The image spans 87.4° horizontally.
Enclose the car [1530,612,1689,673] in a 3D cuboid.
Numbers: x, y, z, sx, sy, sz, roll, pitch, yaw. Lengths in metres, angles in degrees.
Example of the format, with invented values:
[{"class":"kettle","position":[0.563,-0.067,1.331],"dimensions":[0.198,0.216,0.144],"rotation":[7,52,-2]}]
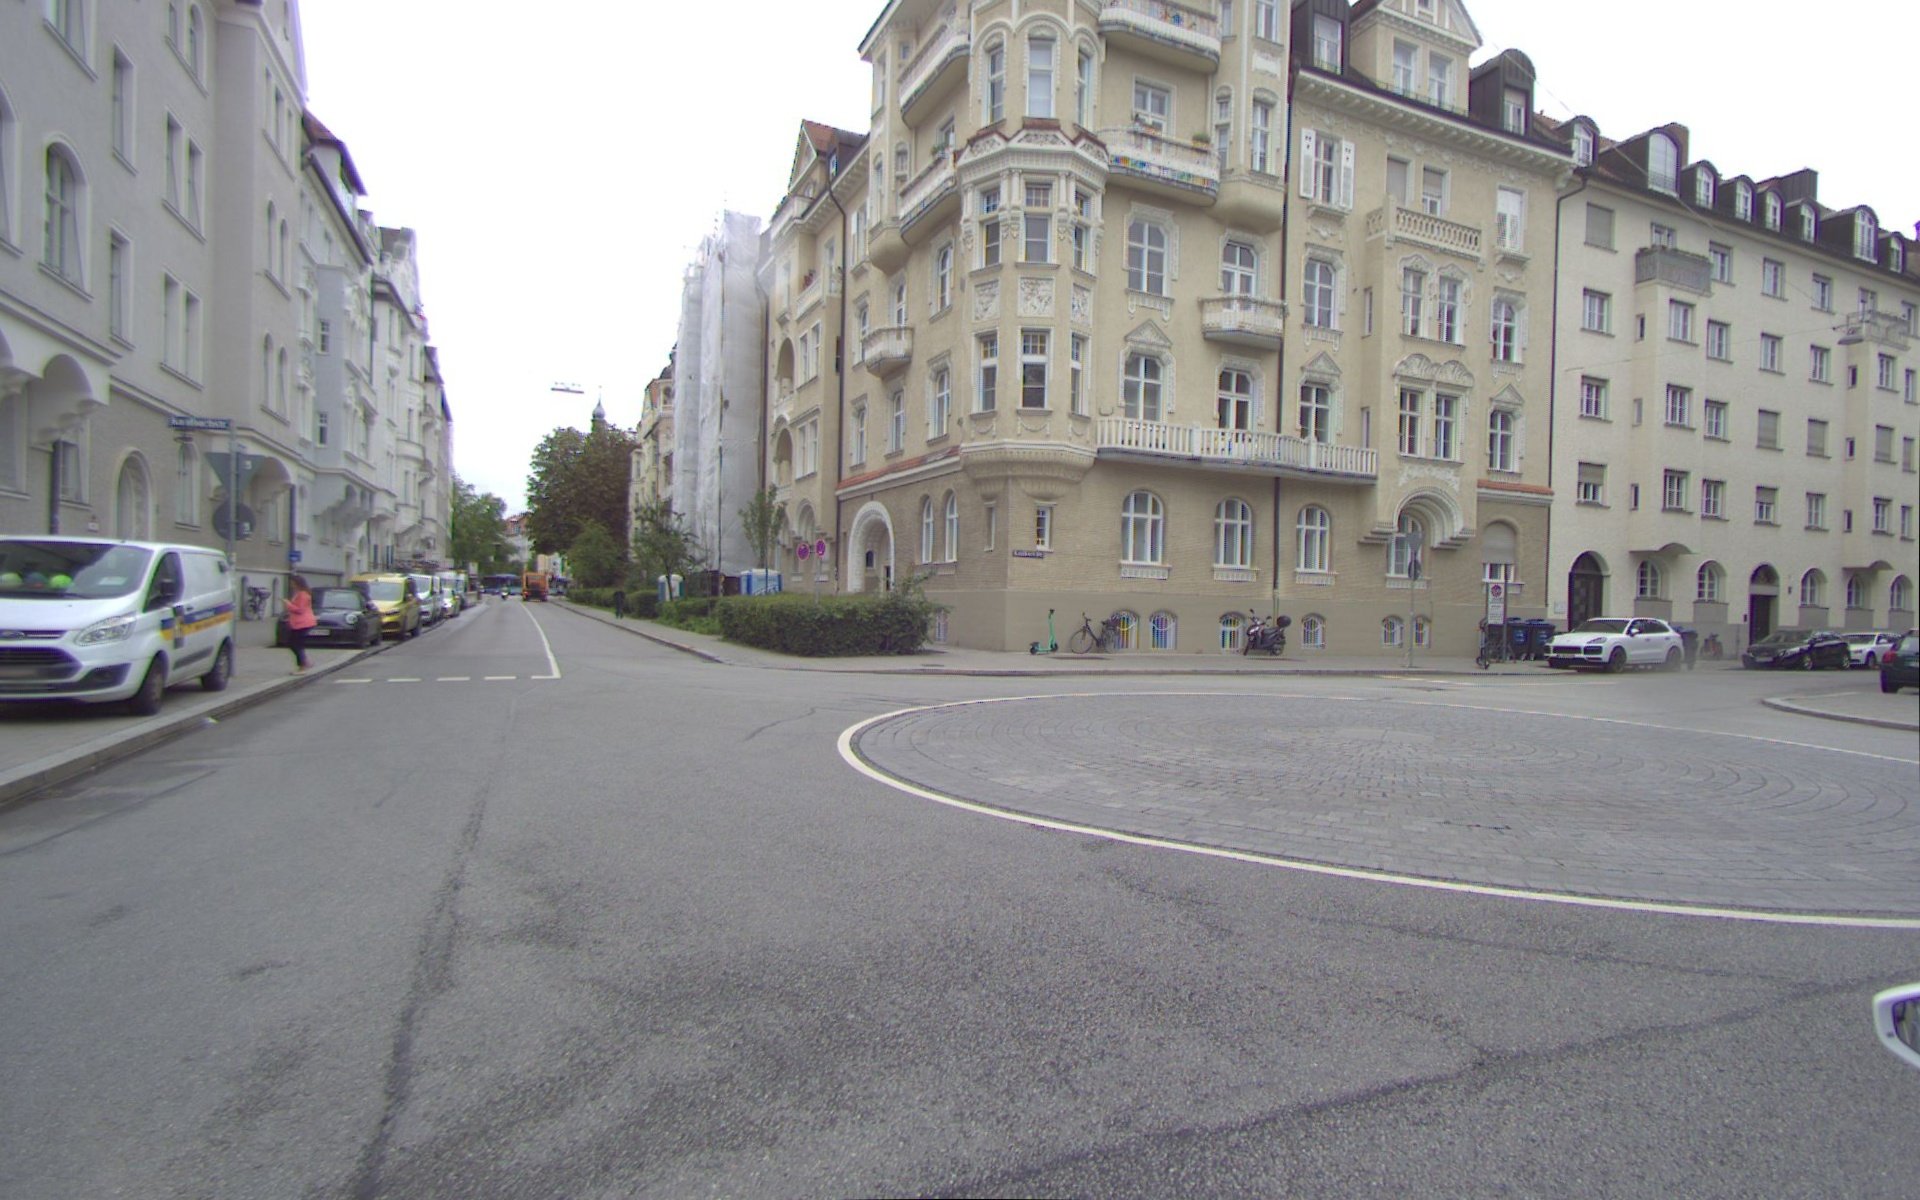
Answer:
[{"class":"car","position":[20.208,1.305,31.247],"dimensions":[4.777,1.723,1.968],"rotation":[2,1,-26]}]

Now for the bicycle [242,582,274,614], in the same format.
[{"class":"bicycle","position":[-23.980,-0.074,34.337],"dimensions":[0.484,1.063,1.821],"rotation":[1,0,-22]}]

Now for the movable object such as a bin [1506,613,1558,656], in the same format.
[{"class":"movable object such as a bin","position":[20.113,1.202,35.342],"dimensions":[1.157,1.444,1.088],"rotation":[2,0,-24]}]

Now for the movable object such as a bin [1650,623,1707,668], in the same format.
[{"class":"movable object such as a bin","position":[24.046,1.518,33.612],"dimensions":[1.157,1.444,1.088],"rotation":[2,0,-24]}]

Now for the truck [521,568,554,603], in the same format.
[{"class":"truck","position":[-46.862,-1.604,111.455],"dimensions":[3.146,3.671,8.683],"rotation":[1,0,-23]}]

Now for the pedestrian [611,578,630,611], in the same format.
[{"class":"pedestrian","position":[-18.584,-0.299,54.969],"dimensions":[0.865,1.749,1.045],"rotation":[2,0,-25]}]

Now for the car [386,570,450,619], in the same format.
[{"class":"car","position":[-23.968,-0.248,44.549],"dimensions":[2.095,2.021,4.793],"rotation":[2,0,-24]}]

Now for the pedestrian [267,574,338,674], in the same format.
[{"class":"pedestrian","position":[-11.173,0.398,17.068],"dimensions":[0.850,1.658,0.723],"rotation":[1,0,-45]}]

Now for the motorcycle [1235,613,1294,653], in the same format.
[{"class":"motorcycle","position":[9.267,1.005,30.549],"dimensions":[1.806,1.192,0.596],"rotation":[2,0,-27]}]

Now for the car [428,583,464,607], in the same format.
[{"class":"car","position":[-31.377,-0.314,61.420],"dimensions":[1.673,1.364,3.519],"rotation":[2,0,-23]}]

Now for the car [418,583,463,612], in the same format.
[{"class":"car","position":[-25.803,-0.120,49.968],"dimensions":[1.674,1.364,3.518],"rotation":[2,0,-24]}]

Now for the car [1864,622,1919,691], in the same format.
[{"class":"car","position":[23.404,1.338,23.758],"dimensions":[4.371,1.525,1.810],"rotation":[2,-1,-31]}]

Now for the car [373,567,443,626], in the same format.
[{"class":"car","position":[-21.385,-0.137,39.048],"dimensions":[2.097,2.119,4.790],"rotation":[2,0,-26]}]

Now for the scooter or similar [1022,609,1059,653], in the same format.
[{"class":"scooter or similar","position":[2.177,0.823,26.997],"dimensions":[0.459,1.130,1.212],"rotation":[2,1,32]}]

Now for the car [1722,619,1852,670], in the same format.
[{"class":"car","position":[29.550,1.576,35.873],"dimensions":[4.655,1.637,1.967],"rotation":[2,1,-29]}]

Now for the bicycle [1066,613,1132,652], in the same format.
[{"class":"bicycle","position":[3.892,0.919,28.101],"dimensions":[1.806,1.063,0.561],"rotation":[2,0,-27]}]

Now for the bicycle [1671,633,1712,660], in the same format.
[{"class":"bicycle","position":[29.537,1.872,40.574],"dimensions":[1.806,1.063,0.561],"rotation":[2,0,-27]}]

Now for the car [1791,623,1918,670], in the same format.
[{"class":"car","position":[33.864,1.760,38.020],"dimensions":[4.347,1.602,1.970],"rotation":[2,1,-24]}]

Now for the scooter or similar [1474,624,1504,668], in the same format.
[{"class":"scooter or similar","position":[15.432,1.336,29.333],"dimensions":[0.458,1.209,1.216],"rotation":[2,1,14]}]

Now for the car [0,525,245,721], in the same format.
[{"class":"car","position":[-10.319,0.192,12.022],"dimensions":[1.899,1.906,4.881],"rotation":[2,0,-24]}]

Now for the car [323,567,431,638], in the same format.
[{"class":"car","position":[-16.718,0.075,29.004],"dimensions":[1.997,1.863,4.115],"rotation":[2,0,-21]}]

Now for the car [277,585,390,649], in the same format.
[{"class":"car","position":[-14.828,0.374,23.948],"dimensions":[1.673,1.364,3.659],"rotation":[2,0,-23]}]

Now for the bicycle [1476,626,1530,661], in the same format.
[{"class":"bicycle","position":[17.300,1.377,32.003],"dimensions":[1.806,1.063,0.561],"rotation":[2,0,-27]}]

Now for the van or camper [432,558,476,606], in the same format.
[{"class":"van or camper","position":[-33.863,-1.207,67.338],"dimensions":[1.971,2.952,6.404],"rotation":[2,1,-22]}]

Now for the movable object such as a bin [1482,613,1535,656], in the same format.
[{"class":"movable object such as a bin","position":[19.035,1.187,34.861],"dimensions":[1.157,1.444,1.088],"rotation":[2,0,-24]}]

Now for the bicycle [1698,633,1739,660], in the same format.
[{"class":"bicycle","position":[31.318,1.927,41.467],"dimensions":[1.806,1.063,0.561],"rotation":[2,0,-27]}]
